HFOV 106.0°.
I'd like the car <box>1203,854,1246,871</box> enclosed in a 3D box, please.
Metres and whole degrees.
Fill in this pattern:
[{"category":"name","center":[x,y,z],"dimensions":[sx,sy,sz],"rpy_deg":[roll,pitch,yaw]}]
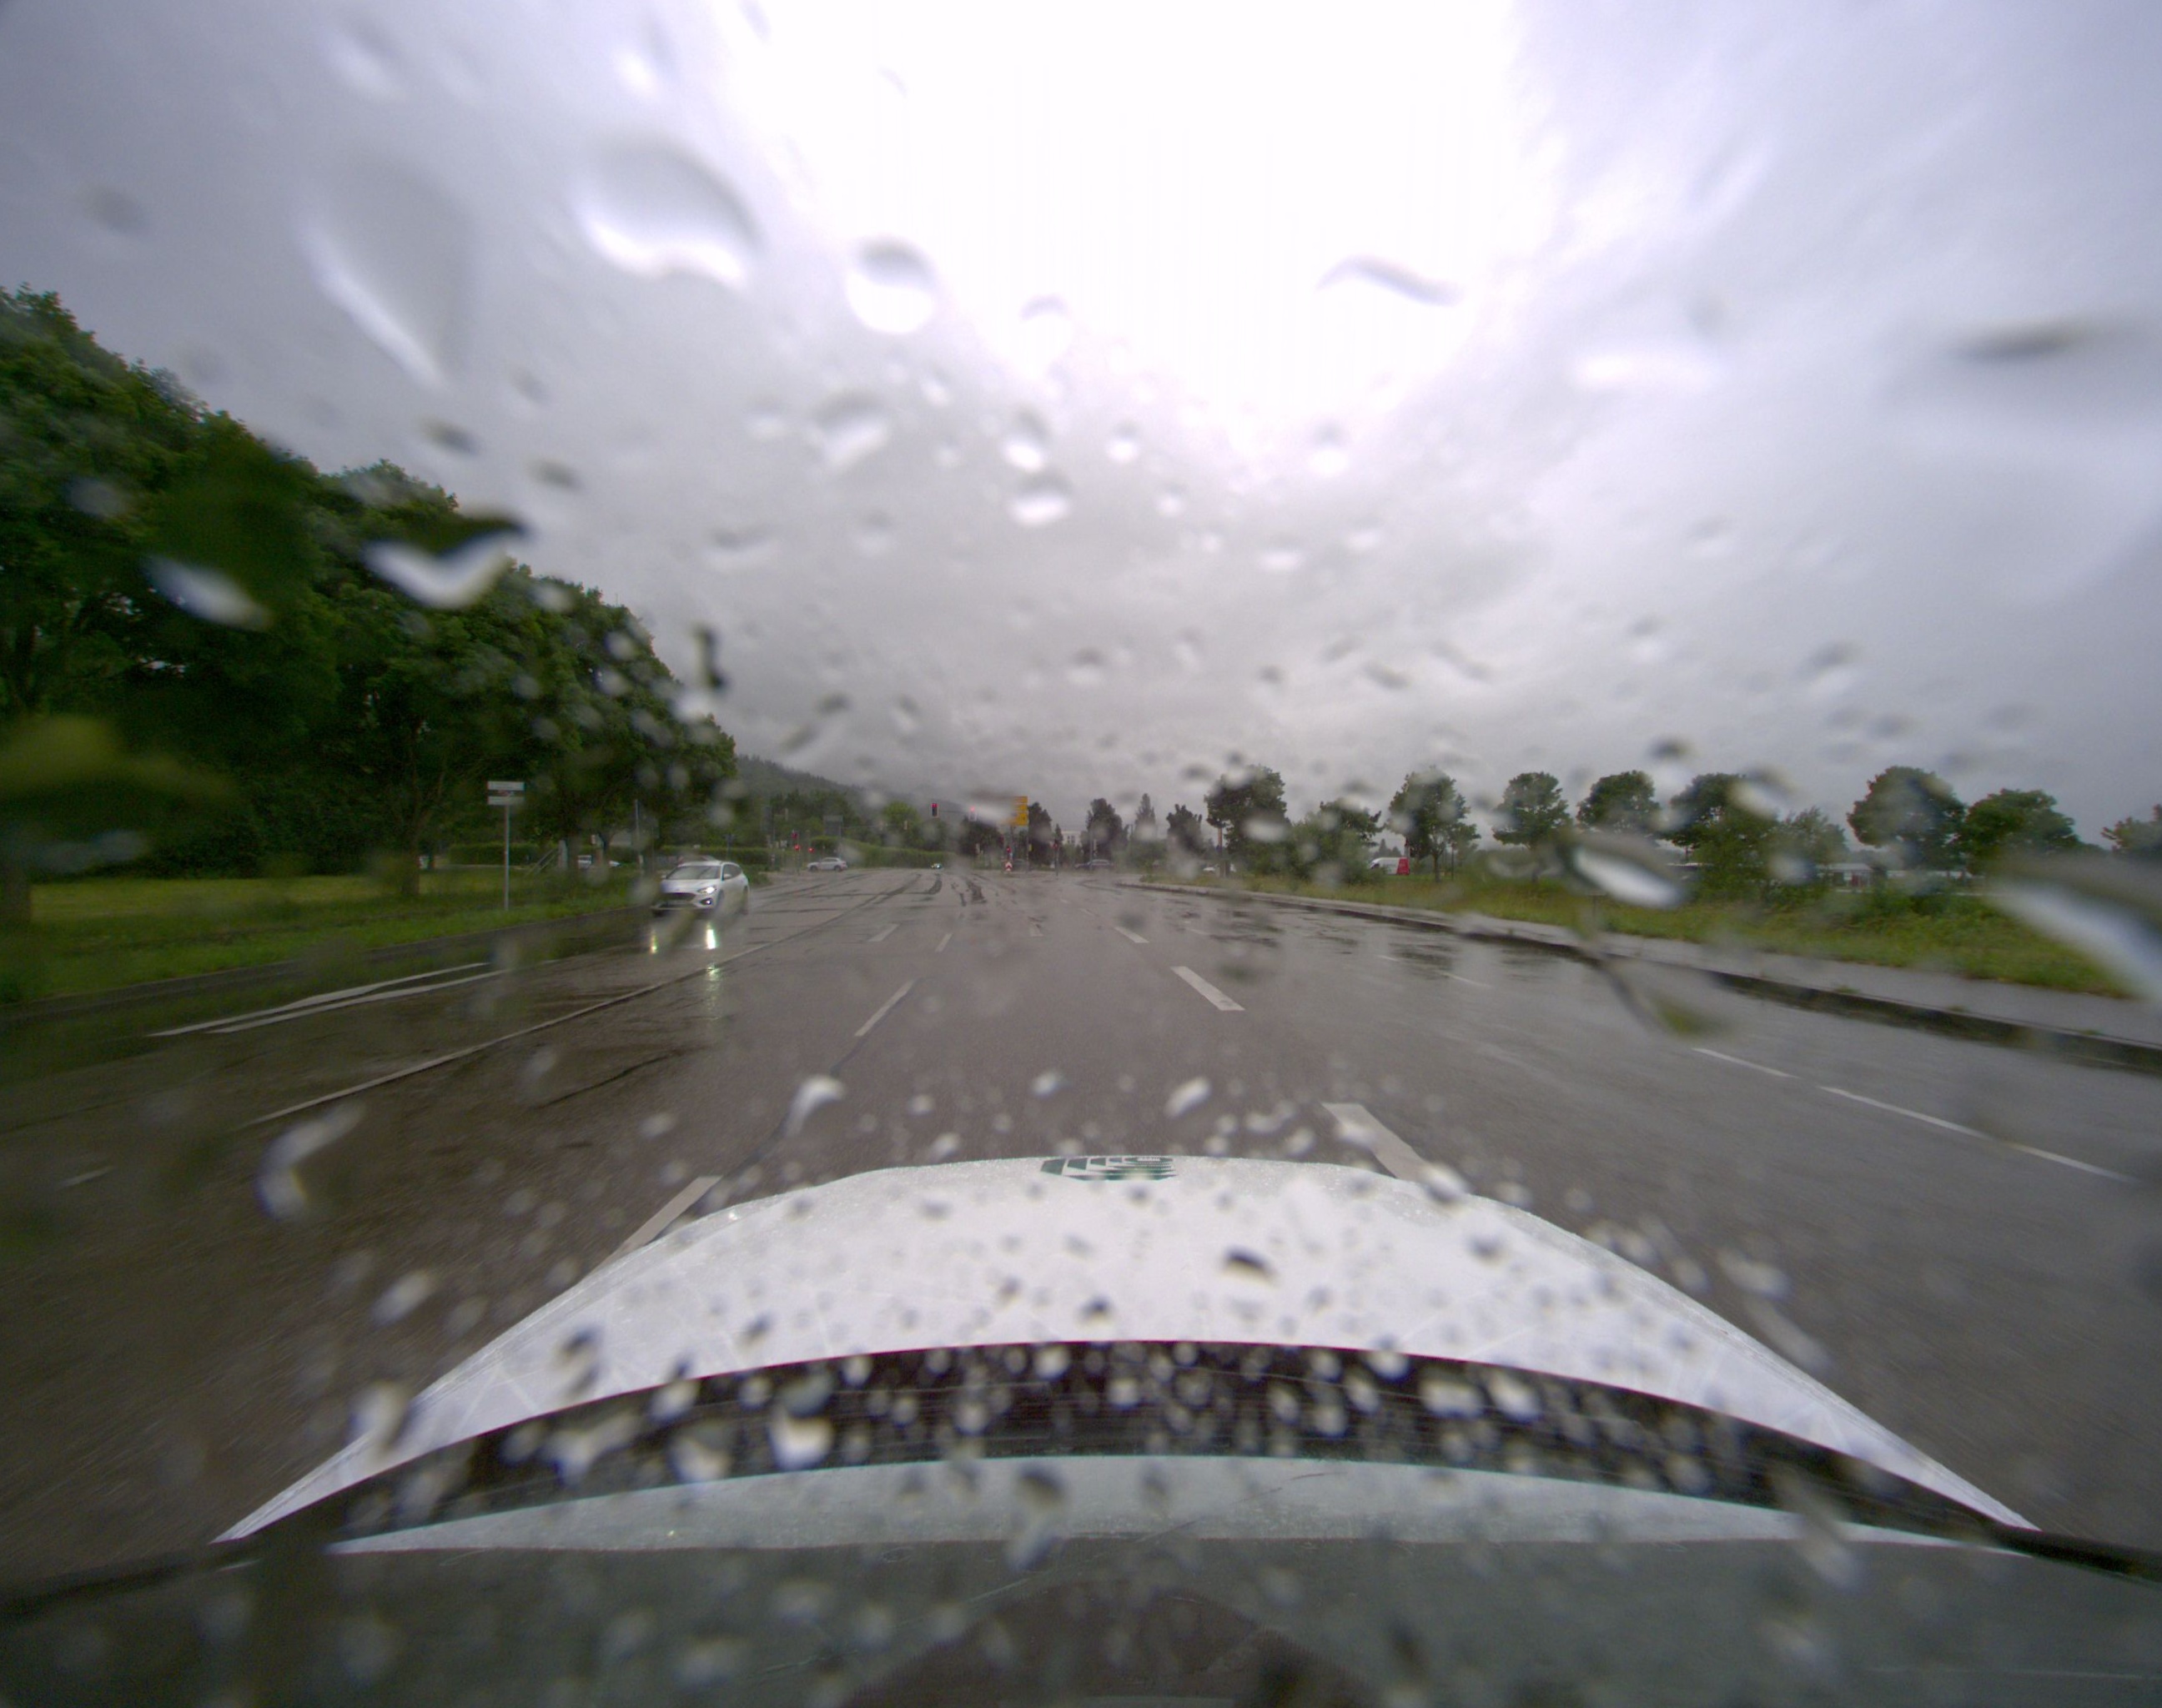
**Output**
[{"category":"car","center":[16.773,0.971,95.241],"dimensions":[4.661,1.915,1.912],"rpy_deg":[0,0,-5]}]

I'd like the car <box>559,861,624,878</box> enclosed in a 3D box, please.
[{"category":"car","center":[-44.939,1.434,74.822],"dimensions":[4.871,1.553,1.797],"rpy_deg":[0,0,-3]}]

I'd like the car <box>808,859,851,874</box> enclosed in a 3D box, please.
[{"category":"car","center":[-28.221,1.404,91.487],"dimensions":[4.374,1.579,1.727],"rpy_deg":[1,0,-9]}]

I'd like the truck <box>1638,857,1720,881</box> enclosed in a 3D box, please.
[{"category":"truck","center":[75.796,1.927,103.225],"dimensions":[8.802,2.832,2.652],"rpy_deg":[1,0,-4]}]

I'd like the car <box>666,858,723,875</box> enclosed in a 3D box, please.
[{"category":"car","center":[-35.854,1.152,75.650],"dimensions":[4.365,1.579,1.730],"rpy_deg":[1,0,-3]}]

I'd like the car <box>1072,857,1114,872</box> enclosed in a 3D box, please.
[{"category":"car","center":[1.421,1.199,93.884],"dimensions":[4.665,1.639,1.818],"rpy_deg":[0,0,-7]}]
